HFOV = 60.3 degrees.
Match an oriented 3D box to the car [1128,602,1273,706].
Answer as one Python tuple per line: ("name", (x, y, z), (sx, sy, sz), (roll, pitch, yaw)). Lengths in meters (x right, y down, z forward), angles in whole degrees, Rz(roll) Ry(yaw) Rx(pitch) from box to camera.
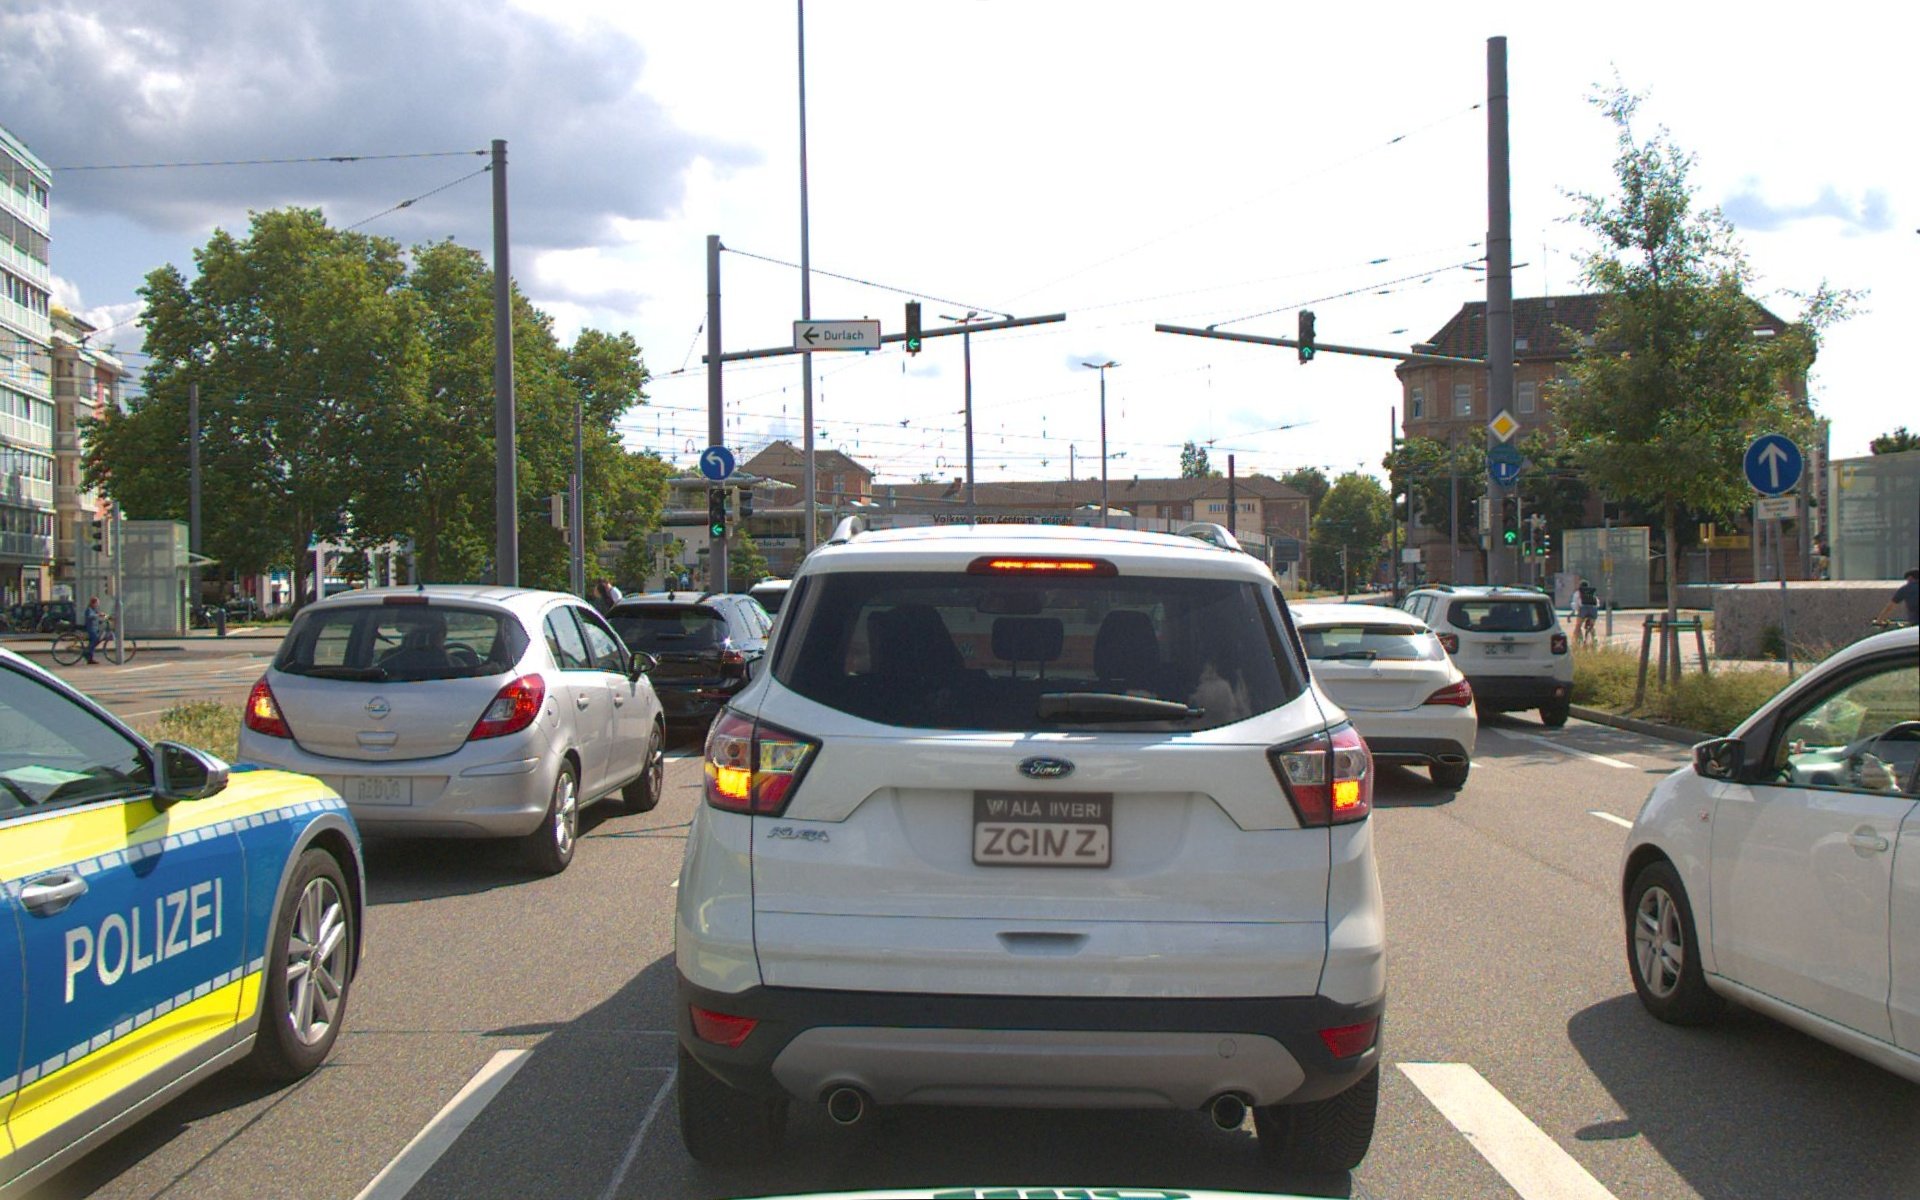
("car", (3.542, 0.748, 24.927), (1.811, 1.443, 3.680), (0, 0, 3))

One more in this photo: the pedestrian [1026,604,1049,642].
("pedestrian", (3.695, 1.095, 79.166), (0.911, 1.774, 0.585), (1, -1, -22))

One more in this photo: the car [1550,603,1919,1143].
("car", (3.390, 0.756, 5.017), (1.616, 1.447, 3.998), (1, 0, -3))

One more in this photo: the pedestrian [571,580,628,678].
("pedestrian", (-6.305, 0.506, 28.978), (0.830, 1.676, 0.692), (-1, -1, -1))

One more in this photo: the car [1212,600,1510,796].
("car", (3.247, 0.724, 14.085), (1.811, 1.443, 3.680), (0, 0, 3))

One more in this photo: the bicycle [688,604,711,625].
("bicycle", (-14.267, 0.793, 90.639), (0.631, 1.145, 1.766), (-1, 1, -30))

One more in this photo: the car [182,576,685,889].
("car", (-2.879, 0.635, 10.014), (1.810, 1.500, 3.999), (0, 0, -1))

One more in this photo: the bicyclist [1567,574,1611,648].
("bicyclist", (12.844, 0.222, 33.790), (0.595, 1.476, 0.774), (-1, 0, 0))

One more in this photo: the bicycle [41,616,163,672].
("bicycle", (-19.803, 1.010, 38.206), (2.248, 1.209, 0.994), (-2, 0, -4))

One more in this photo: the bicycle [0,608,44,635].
("bicycle", (-40.950, 0.932, 71.993), (1.776, 1.167, 0.792), (-1, 0, -19))

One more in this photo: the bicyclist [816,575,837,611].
("bicyclist", (-6.469, -0.325, 80.076), (0.743, 1.712, 0.761), (-2, 0, 14))

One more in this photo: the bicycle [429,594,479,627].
("bicycle", (-22.786, 0.466, 74.576), (2.133, 1.439, 0.809), (0, 1, -16))

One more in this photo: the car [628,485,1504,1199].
("car", (0.305, 0.613, 5.381), (1.789, 1.693, 3.957), (0, 0, 3))

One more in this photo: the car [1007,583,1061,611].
("car", (4.229, -0.200, 93.749), (1.860, 1.487, 3.969), (-2, 0, 21))

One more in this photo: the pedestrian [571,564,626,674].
("pedestrian", (-6.505, 0.337, 29.785), (0.830, 1.950, 0.692), (-1, -1, -1))

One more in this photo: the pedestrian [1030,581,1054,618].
("pedestrian", (3.889, -0.025, 78.463), (0.911, 1.774, 0.585), (1, -1, -24))

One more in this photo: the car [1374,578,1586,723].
("car", (6.554, 0.591, 21.262), (1.797, 1.681, 4.002), (0, 0, 5))

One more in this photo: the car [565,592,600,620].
("car", (-28.145, 0.475, 123.459), (1.929, 1.971, 4.226), (-2, -1, -5))

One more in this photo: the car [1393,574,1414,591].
("car", (45.526, -1.808, 169.801), (1.798, 1.681, 4.001), (0, 0, 19))

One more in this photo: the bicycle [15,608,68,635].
("bicycle", (-40.703, 0.956, 73.301), (1.914, 1.167, 0.792), (-1, 0, -19))

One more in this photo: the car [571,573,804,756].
("car", (-2.617, 0.563, 16.865), (1.727, 1.595, 4.525), (0, 0, -2))

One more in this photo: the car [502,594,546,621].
("car", (-32.726, 0.583, 124.241), (1.928, 1.971, 5.067), (-2, -1, -1))

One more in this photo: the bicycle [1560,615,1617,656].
("bicycle", (12.834, 0.714, 33.822), (0.572, 0.789, 1.621), (-1, 0, 1))

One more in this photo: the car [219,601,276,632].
("car", (-35.674, 0.843, 82.894), (1.872, 1.438, 3.987), (-1, -1, -12))

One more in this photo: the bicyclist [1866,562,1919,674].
("bicyclist", (11.000, 0.195, 19.121), (0.621, 1.241, 0.925), (-2, 1, 11))

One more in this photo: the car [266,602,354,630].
("car", (-33.811, 0.844, 86.064), (3.907, 1.350, 1.632), (-2, -1, -3))

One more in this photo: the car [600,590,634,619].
("car", (-25.539, 0.347, 123.244), (1.955, 2.049, 4.226), (-2, -1, -5))

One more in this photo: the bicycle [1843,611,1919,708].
("bicycle", (11.050, 0.662, 19.192), (0.829, 0.987, 1.963), (-3, 0, 11))

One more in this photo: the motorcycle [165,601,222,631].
("motorcycle", (-33.145, 0.686, 71.488), (2.165, 1.259, 0.906), (-1, 1, 17))

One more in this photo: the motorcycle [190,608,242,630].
("motorcycle", (-34.311, 0.874, 76.313), (0.795, 0.933, 2.037), (0, 1, 36))

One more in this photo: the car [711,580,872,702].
("car", (-2.338, 0.535, 24.041), (1.998, 1.606, 4.538), (0, 0, -2))

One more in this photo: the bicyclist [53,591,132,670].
("bicyclist", (-20.014, 0.688, 38.186), (1.271, 1.761, 0.994), (-1, 0, -3))

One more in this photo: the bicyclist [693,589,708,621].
("bicyclist", (-14.212, 0.261, 90.523), (0.631, 1.768, 0.655), (0, 1, -32))

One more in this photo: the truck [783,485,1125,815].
("truck", (0.078, 0.324, 14.154), (2.290, 2.193, 5.854), (1, 0, 2))

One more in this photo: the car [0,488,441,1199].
("car", (-2.652, 0.606, 3.250), (1.842, 1.595, 4.614), (-1, 0, -1))

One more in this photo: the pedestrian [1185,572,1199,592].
("pedestrian", (20.526, -1.595, 146.237), (0.860, 1.767, 0.873), (1, -1, 35))
